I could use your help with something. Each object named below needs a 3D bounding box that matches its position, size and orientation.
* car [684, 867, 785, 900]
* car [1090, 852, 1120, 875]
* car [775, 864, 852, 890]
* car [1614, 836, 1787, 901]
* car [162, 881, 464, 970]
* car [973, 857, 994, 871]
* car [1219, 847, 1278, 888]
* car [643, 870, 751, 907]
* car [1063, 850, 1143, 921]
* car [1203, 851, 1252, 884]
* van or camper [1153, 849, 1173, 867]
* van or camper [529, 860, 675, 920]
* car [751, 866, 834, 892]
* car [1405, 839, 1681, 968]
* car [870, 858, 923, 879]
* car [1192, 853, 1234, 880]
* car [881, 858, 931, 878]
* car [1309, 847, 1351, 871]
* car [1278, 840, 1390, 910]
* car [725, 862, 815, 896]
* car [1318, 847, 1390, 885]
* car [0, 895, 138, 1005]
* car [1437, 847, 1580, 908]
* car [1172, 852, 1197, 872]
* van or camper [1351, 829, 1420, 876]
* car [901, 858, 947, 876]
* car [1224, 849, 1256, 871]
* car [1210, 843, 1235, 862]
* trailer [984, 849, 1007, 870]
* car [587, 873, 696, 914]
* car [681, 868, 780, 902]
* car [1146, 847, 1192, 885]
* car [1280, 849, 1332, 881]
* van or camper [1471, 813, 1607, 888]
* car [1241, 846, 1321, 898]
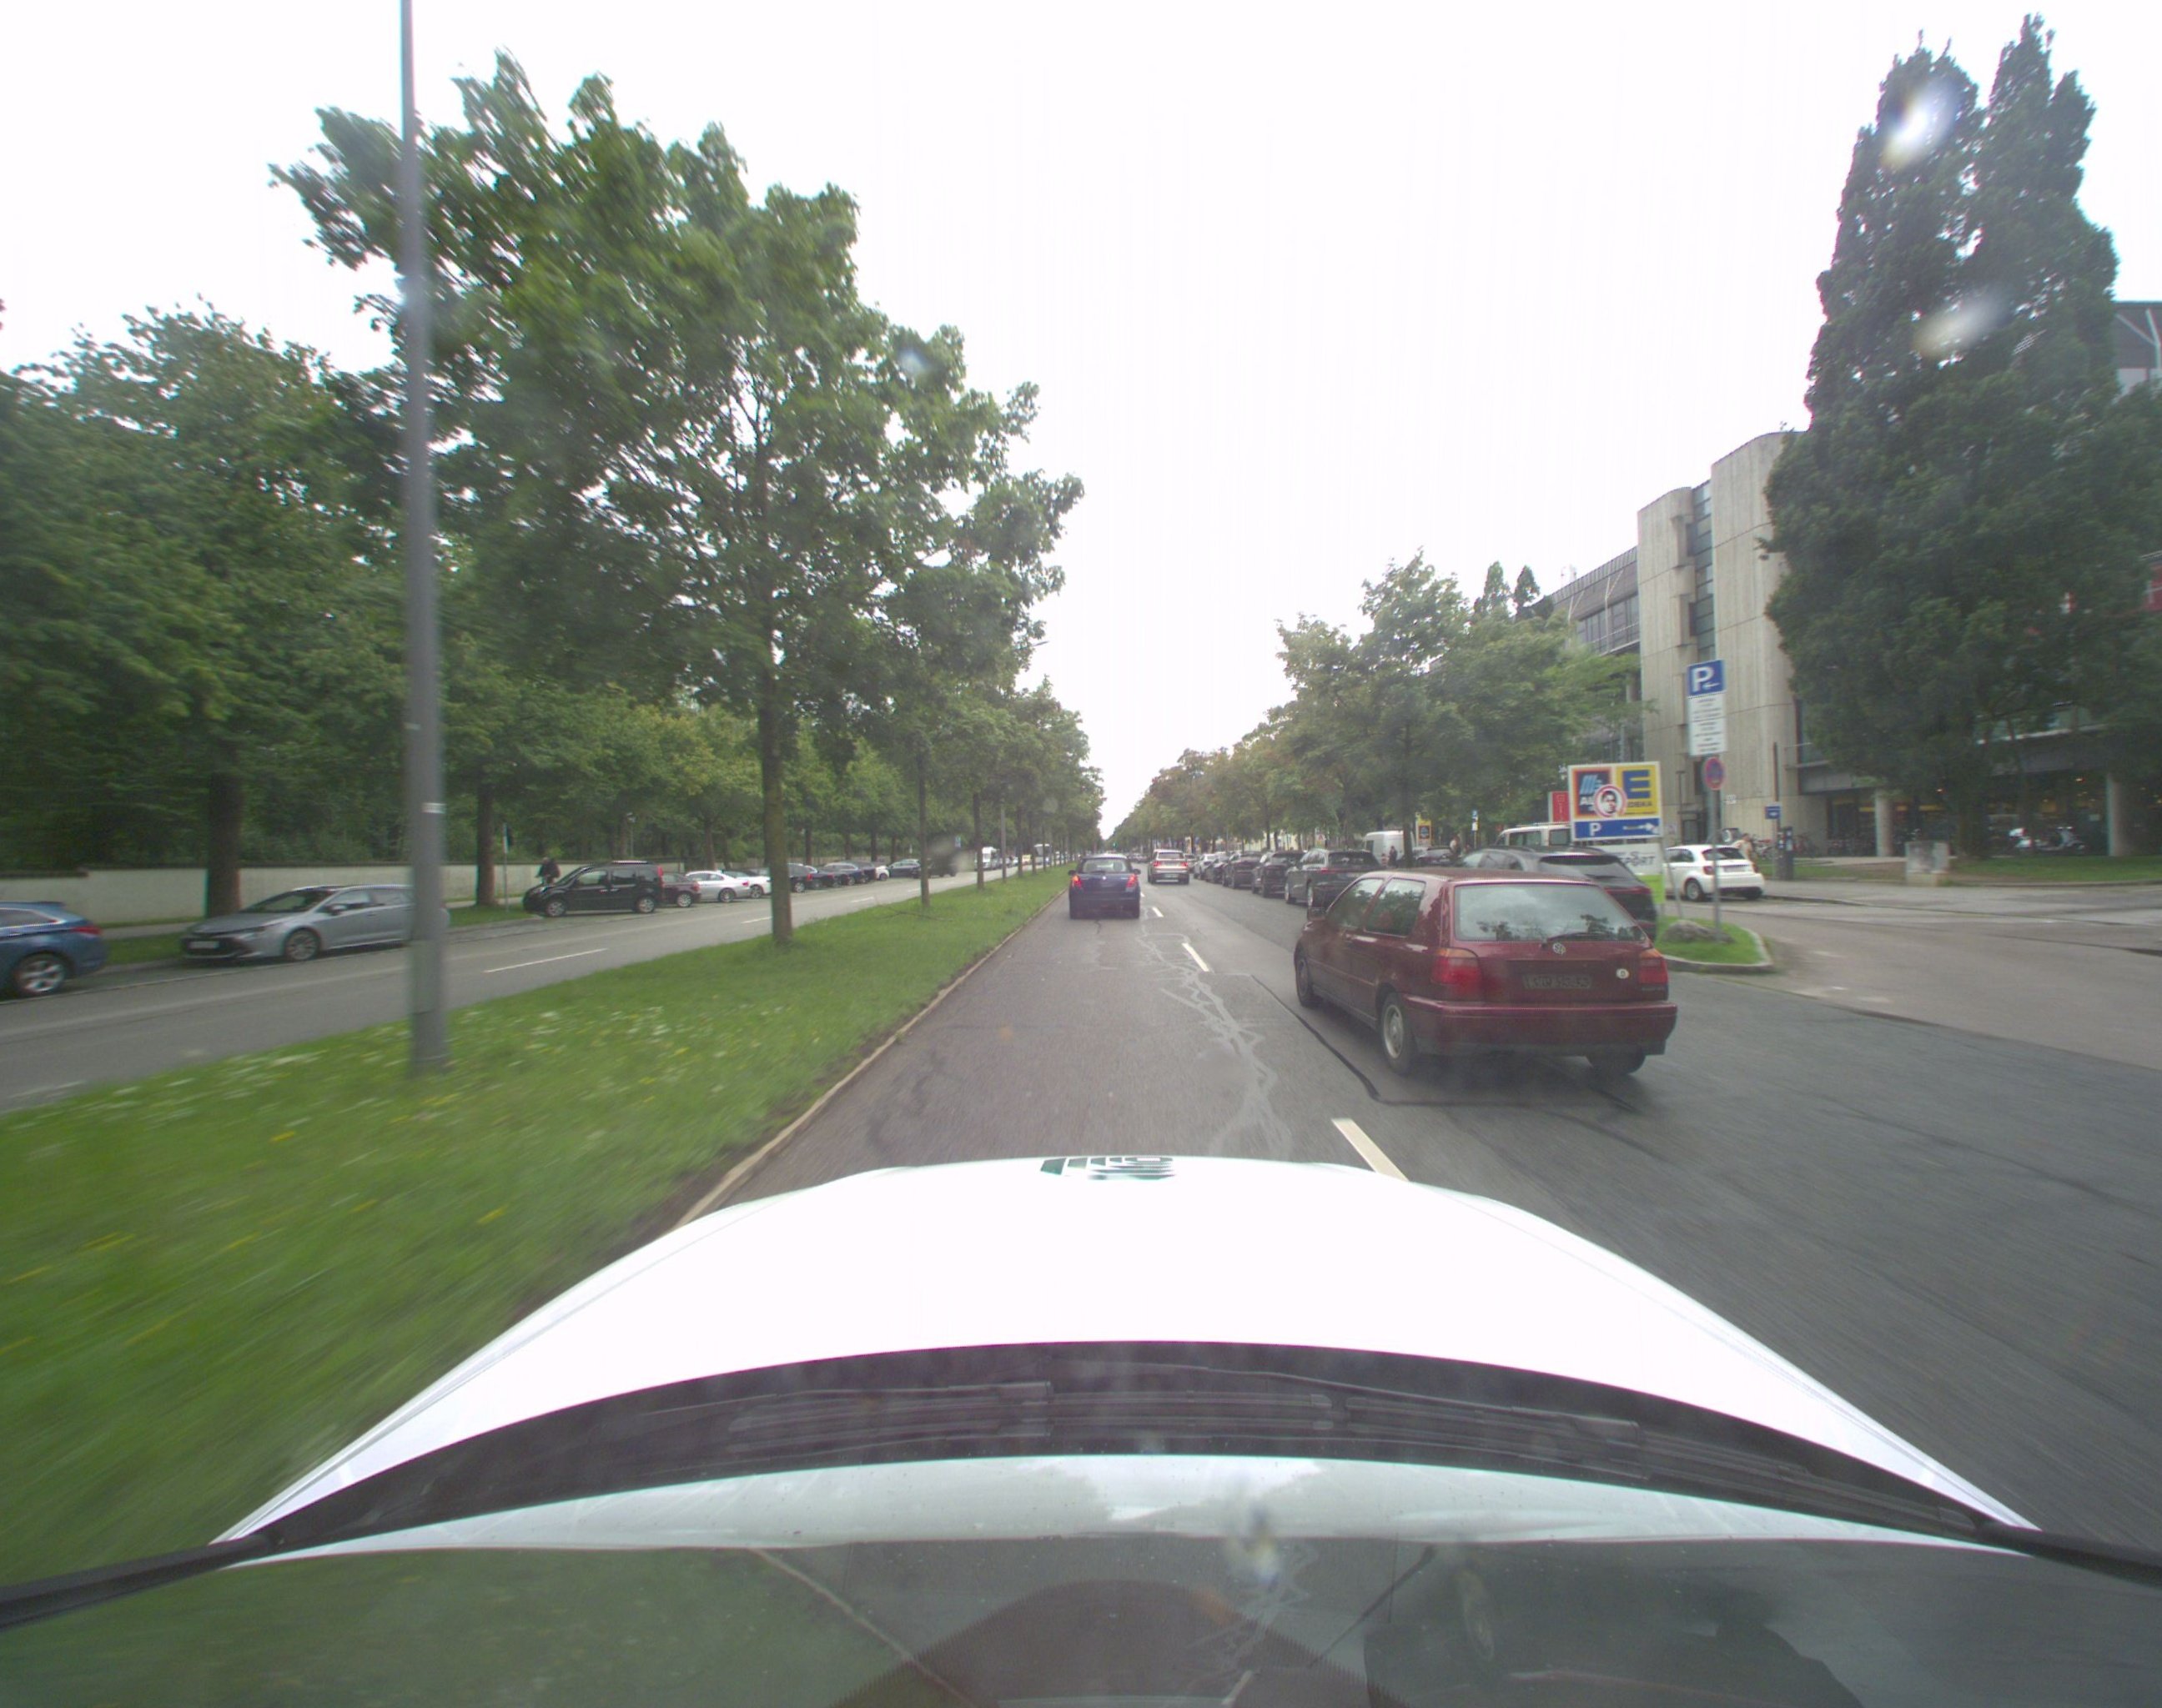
[{"bbox_3d":[-17.261,1.438,40.616,4.263,1.422,1.897,-2,0,-40],"label":"car"},{"bbox_3d":[1.555,0.619,54.074,1.844,1.447,4.097,-1,0,0],"label":"car"},{"bbox_3d":[-16.545,1.371,50.451,4.213,1.410,1.900,-2,0,-32],"label":"car"},{"bbox_3d":[17.447,0.373,23.218,1.986,1.651,4.002,-2,0,2],"label":"car"},{"bbox_3d":[-15.753,1.375,17.174,1.629,1.439,4.812,0,0,3],"label":"car"},{"bbox_3d":[-11.470,1.221,96.416,1.907,1.542,4.187,-2,0,0],"label":"car"},{"bbox_3d":[7.208,0.543,35.396,1.758,1.651,4.425,-1,0,1],"label":"car"},{"bbox_3d":[-16.574,1.442,35.188,4.015,1.354,1.832,-2,0,-33],"label":"car"},{"bbox_3d":[0.520,0.712,20.519,1.783,1.555,4.000,-1,0,0],"label":"car"},{"bbox_3d":[7.326,0.629,41.113,1.758,1.546,4.425,-1,0,1],"label":"car"},{"bbox_3d":[9.277,0.468,92.076,1.937,1.975,4.309,-1,0,3],"label":"van or camper"},{"bbox_3d":[-16.748,1.191,28.567,4.146,1.854,1.829,-1,0,-39],"label":"van or camper"},{"bbox_3d":[-16.650,1.418,47.038,4.217,1.322,1.900,-2,0,-32],"label":"car"},{"bbox_3d":[6.759,0.629,12.588,1.756,1.589,4.453,-1,0,1],"label":"car"},{"bbox_3d":[-16.223,1.264,71.757,4.122,1.695,1.900,-2,0,-32],"label":"car"},{"bbox_3d":[7.540,0.663,46.940,1.701,1.454,4.512,1,0,0],"label":"car"},{"bbox_3d":[-16.177,1.253,75.294,4.122,1.695,1.900,-2,0,-32],"label":"car"},{"bbox_3d":[18.166,0.366,59.517,1.679,1.632,4.498,-1,0,0],"label":"car"},{"bbox_3d":[6.847,0.521,22.575,1.754,1.701,4.823,-1,0,2],"label":"car"},{"bbox_3d":[-16.712,1.312,43.785,4.127,1.597,1.897,-2,0,-38],"label":"car"},{"bbox_3d":[11.554,0.481,34.777,1.742,1.479,4.009,-1,0,0],"label":"car"},{"bbox_3d":[-15.991,1.401,10.700,1.581,1.458,4.799,0,0,1],"label":"car"},{"bbox_3d":[11.366,0.569,21.987,1.758,1.488,3.998,0,0,-1],"label":"car"},{"bbox_3d":[8.135,0.618,64.329,1.677,1.525,4.459,0,0,3],"label":"car"},{"bbox_3d":[17.794,-0.099,47.955,2.016,2.558,5.959,-2,0,2],"label":"van or camper"},{"bbox_3d":[-15.750,1.266,81.949,4.122,1.652,1.900,-2,0,-32],"label":"car"},{"bbox_3d":[12.317,0.470,63.400,1.678,1.632,4.782,-1,0,2],"label":"car"},{"bbox_3d":[12.806,-0.138,73.967,1.678,1.585,4.029,-1,0,2],"label":"car"},{"bbox_3d":[-11.123,0.664,105.941,2.098,2.540,5.579,-2,0,2],"label":"trailer"},{"bbox_3d":[-16.962,1.495,31.529,3.590,1.354,1.737,-2,0,-29],"label":"car"},{"bbox_3d":[-16.484,1.438,38.372,4.059,1.381,1.657,-2,0,-34],"label":"car"},{"bbox_3d":[4.360,0.584,40.691,1.844,1.743,4.097,-1,0,0],"label":"car"},{"bbox_3d":[11.623,0.540,42.289,1.677,1.585,4.011,-1,0,2],"label":"car"},{"bbox_3d":[17.363,-0.119,31.302,1.986,2.558,5.959,-2,0,2],"label":"van or camper"},{"bbox_3d":[6.958,0.583,28.752,1.716,1.651,4.389,-1,0,0],"label":"car"}]
